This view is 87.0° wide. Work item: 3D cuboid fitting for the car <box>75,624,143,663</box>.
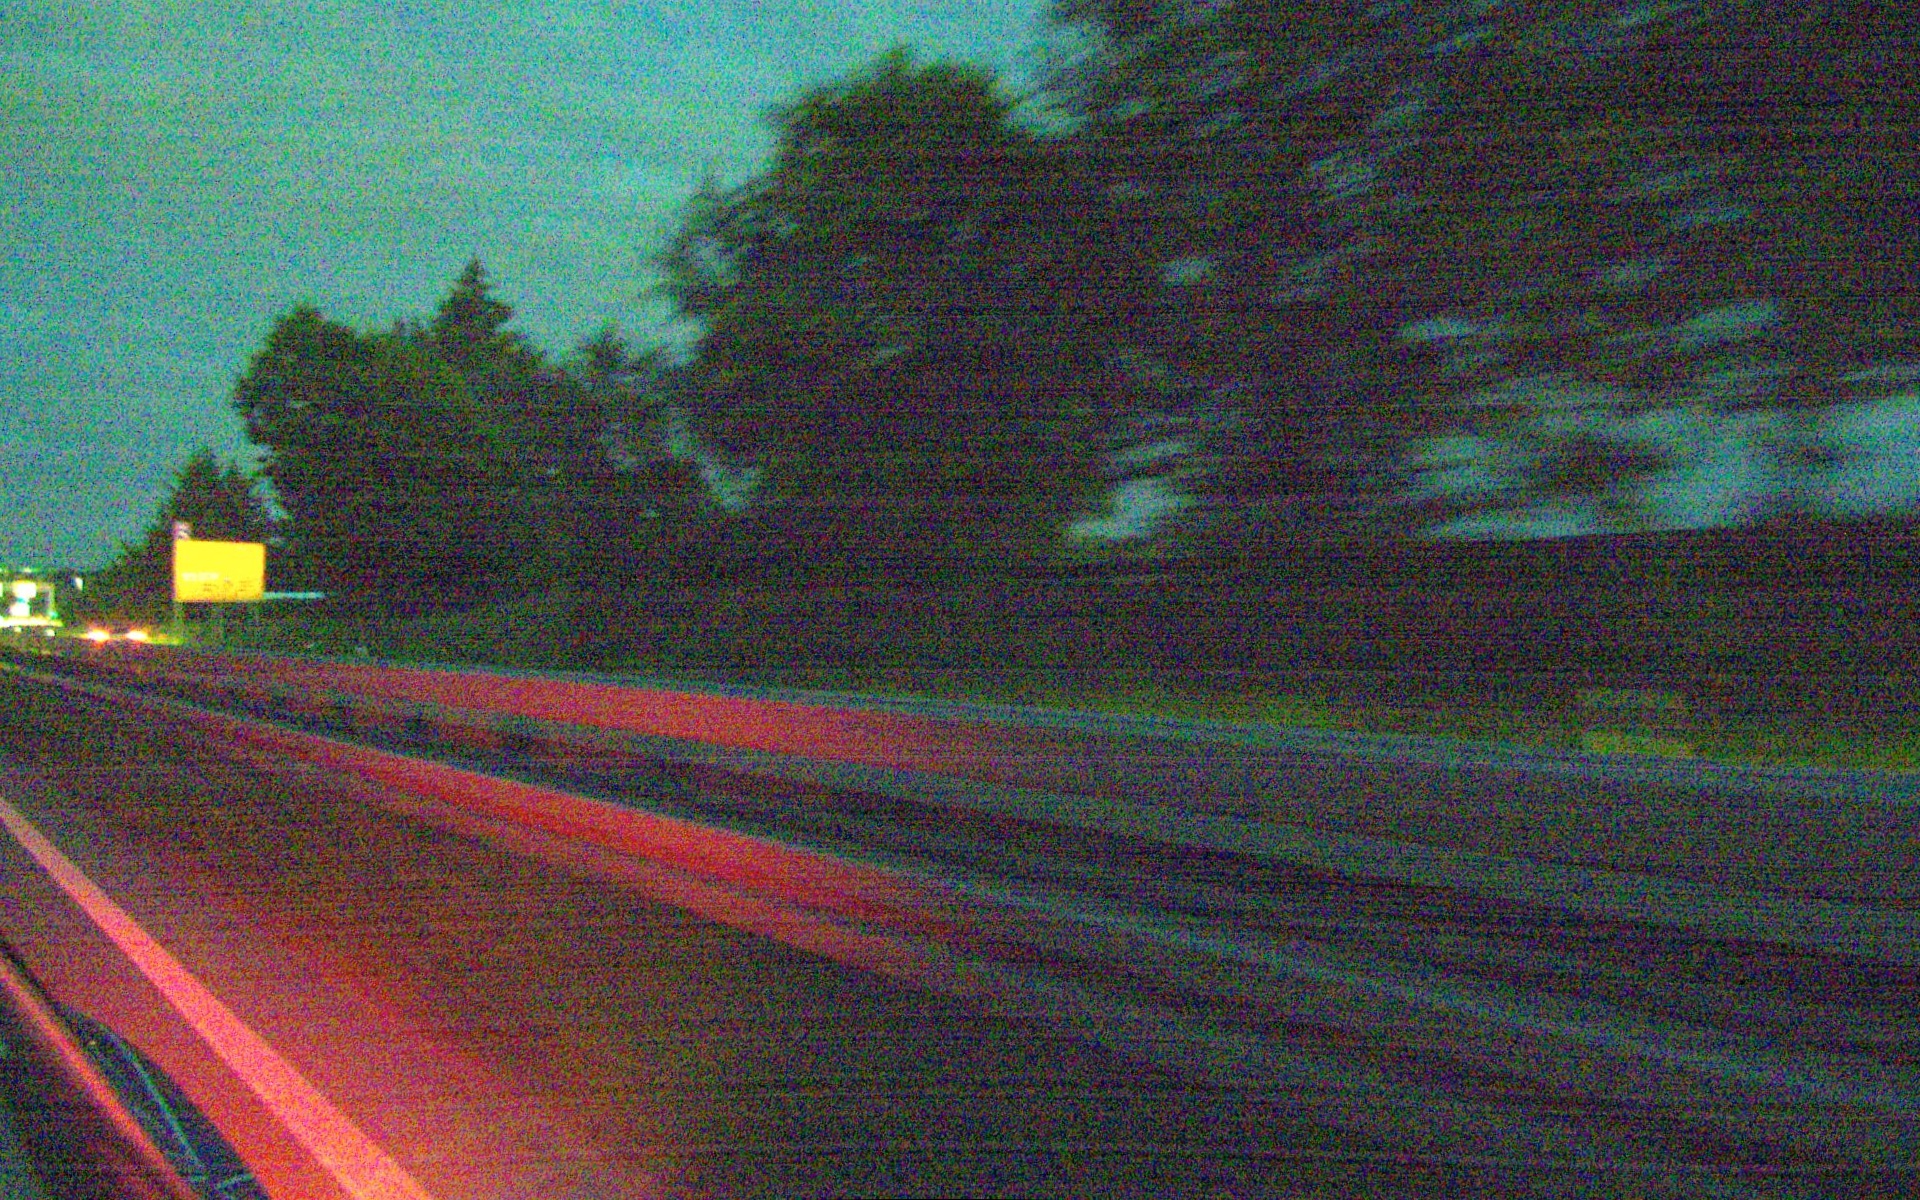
[{"bbox_3d":[-37.339,1.862,44.377,4.164,1.599,1.665,-1,0,41],"label":"car"}]
